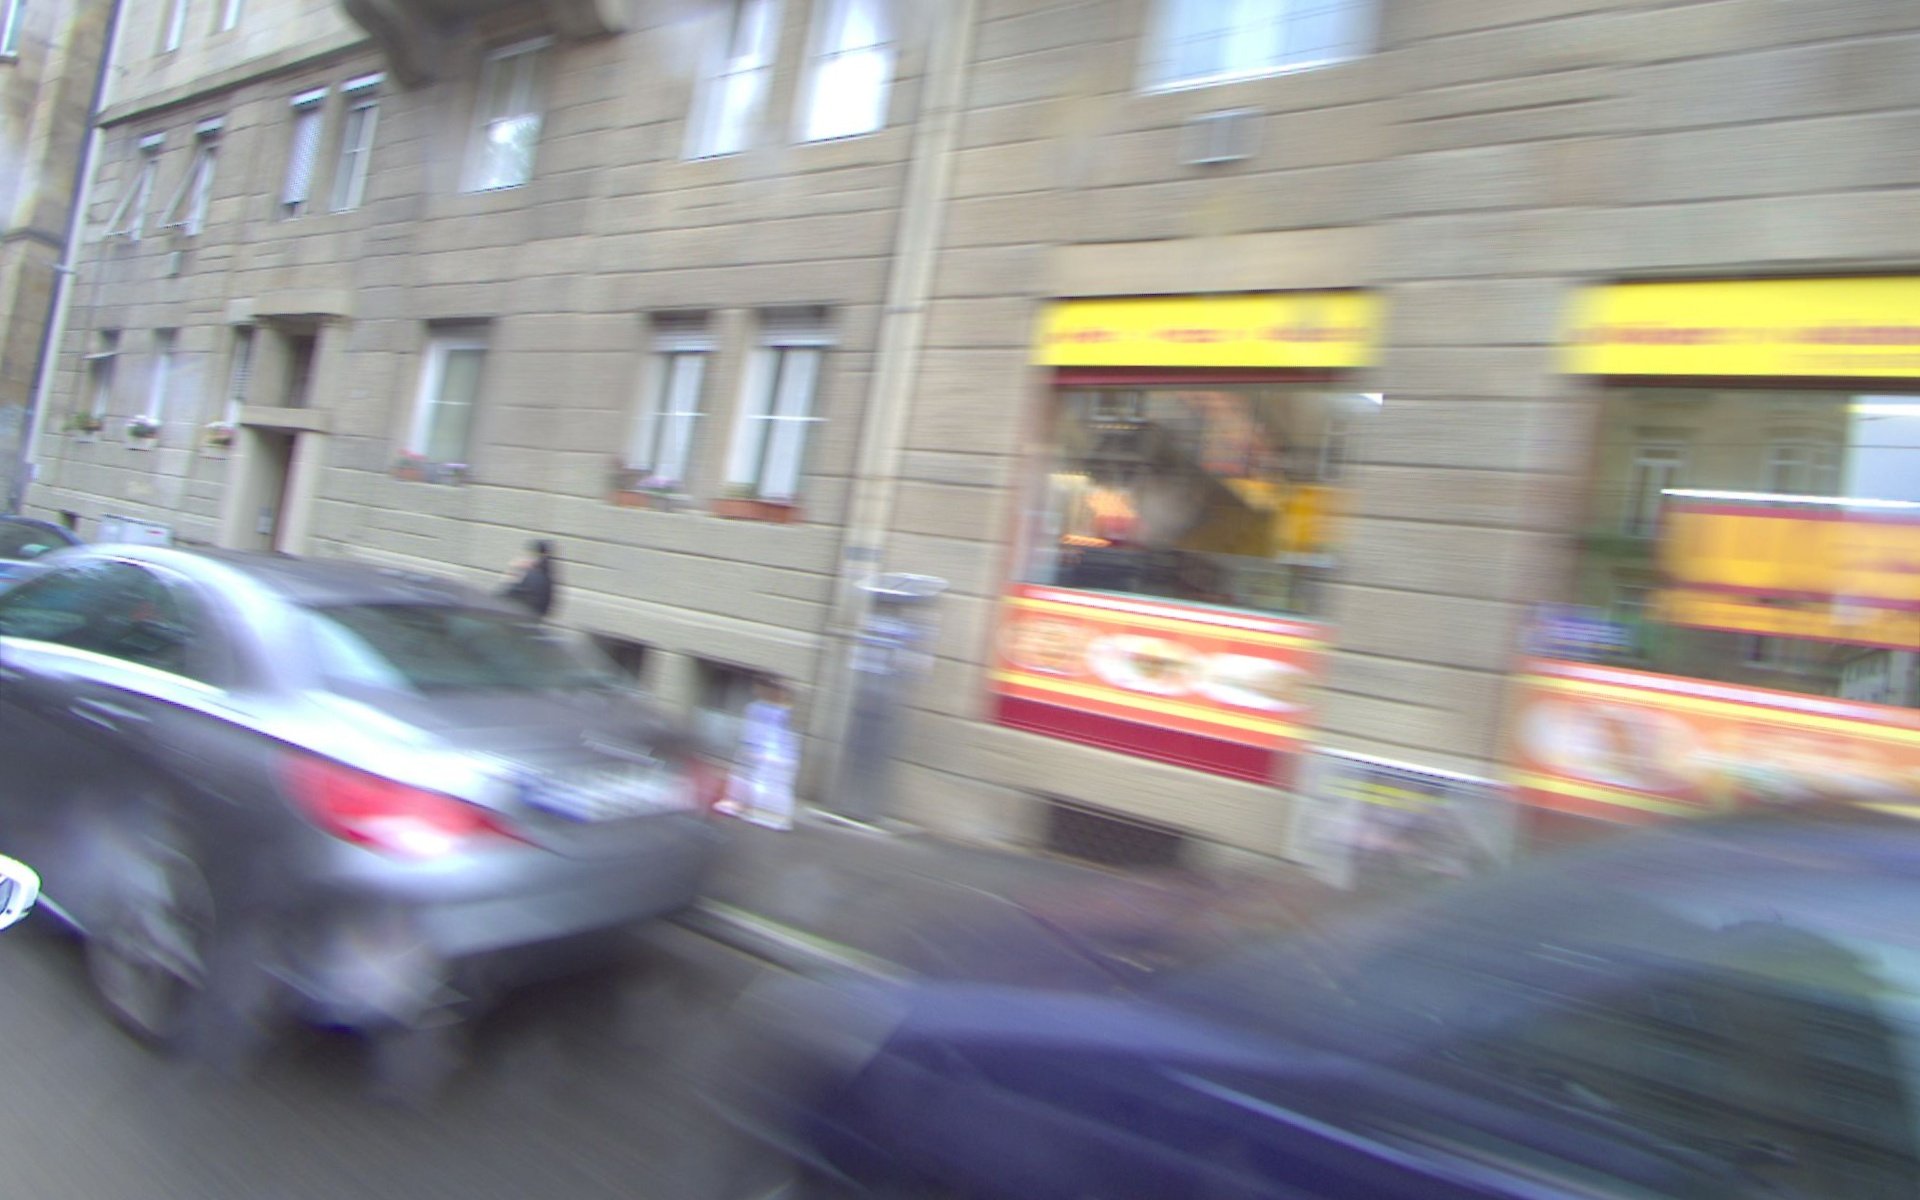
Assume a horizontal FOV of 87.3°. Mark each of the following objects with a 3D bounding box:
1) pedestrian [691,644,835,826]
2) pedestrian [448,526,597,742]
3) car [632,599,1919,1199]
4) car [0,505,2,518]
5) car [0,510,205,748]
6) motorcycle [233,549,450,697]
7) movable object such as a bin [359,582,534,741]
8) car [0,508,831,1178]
[{"bbox_3d":[-1.301,0.879,6.656,0.616,1.062,0.512,7,-2,32],"label":"pedestrian"},{"bbox_3d":[-3.383,0.269,7.787,0.698,1.552,0.562,7,-2,32],"label":"pedestrian"},{"bbox_3d":[1.424,0.992,1.613,3.728,1.461,1.673,7,-1,32],"label":"car"},{"bbox_3d":[-11.482,-0.497,9.932,4.015,1.478,1.792,7,-2,31],"label":"car"},{"bbox_3d":[-7.406,0.000,7.197,3.951,1.413,1.711,7,-2,31],"label":"car"},{"bbox_3d":[-6.608,0.213,10.678,2.700,1.212,0.707,7,-2,32],"label":"motorcycle"},{"bbox_3d":[-4.220,0.505,8.262,1.105,1.115,0.667,7,-3,32],"label":"movable object such as a bin"},{"bbox_3d":[-2.916,0.492,4.190,4.408,1.403,1.758,7,-1,29],"label":"car"}]
